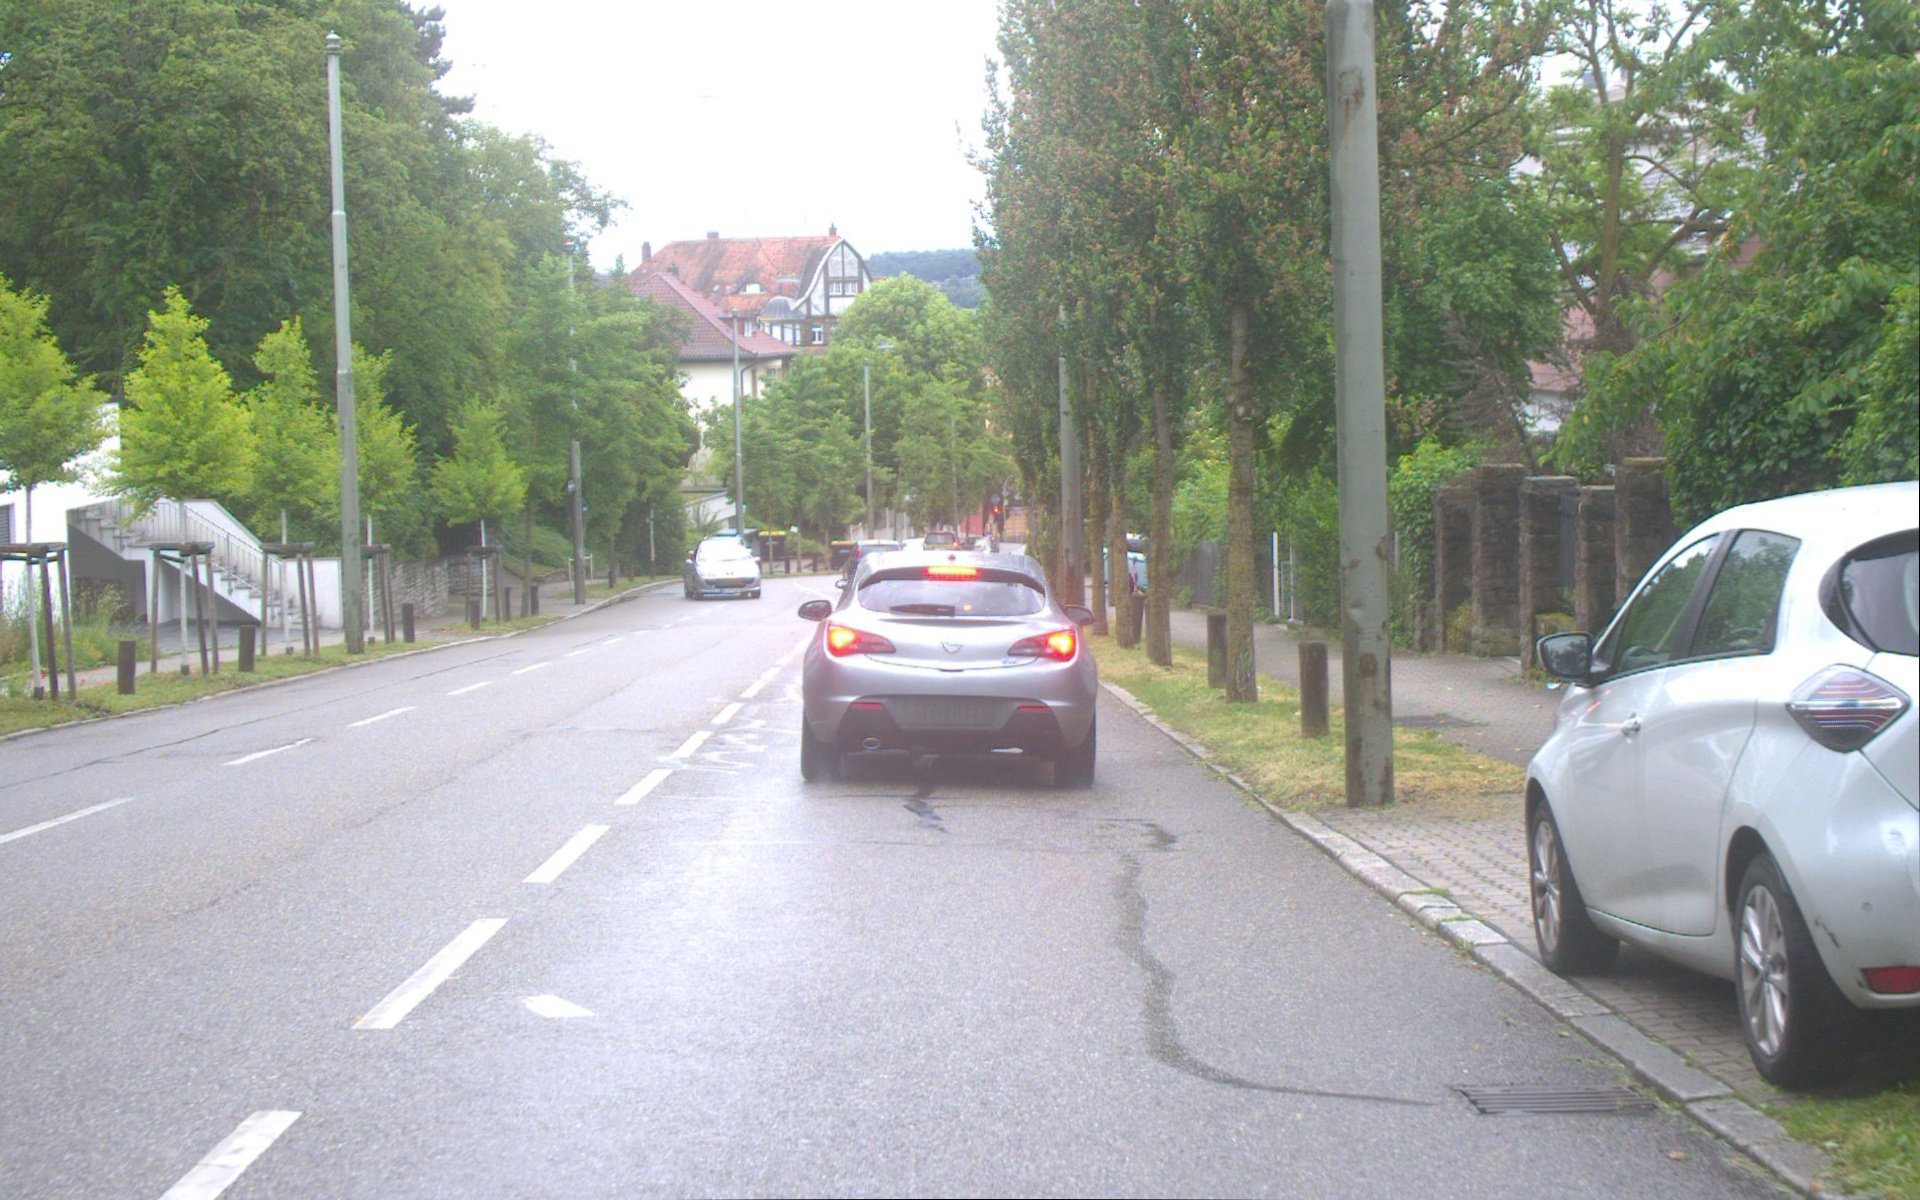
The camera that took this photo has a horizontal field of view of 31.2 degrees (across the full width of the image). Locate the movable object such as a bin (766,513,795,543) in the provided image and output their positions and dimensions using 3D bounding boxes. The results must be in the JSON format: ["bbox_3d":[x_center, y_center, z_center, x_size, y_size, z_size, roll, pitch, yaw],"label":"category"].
[{"bbox_3d":[-8.234,-3.311,157.831,1.272,1.382,0.489,0,2,5],"label":"movable object such as a bin"}]

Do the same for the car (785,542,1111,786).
[{"bbox_3d":[-0.095,0.349,22.493,1.945,1.427,3.884,0,1,-1],"label":"car"}]

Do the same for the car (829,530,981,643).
[{"bbox_3d":[-0.660,-0.204,44.109,1.798,1.318,4.000,0,2,1],"label":"car"}]

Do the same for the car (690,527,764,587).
[{"bbox_3d":[-6.151,-1.164,91.144,1.761,1.481,4.001,-3,1,-2],"label":"car"}]

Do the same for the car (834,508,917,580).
[{"bbox_3d":[-2.228,-1.515,91.737,1.769,1.775,3.976,1,3,5],"label":"car"}]

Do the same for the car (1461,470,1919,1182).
[{"bbox_3d":[2.806,0.453,10.159,1.824,1.624,4.001,-4,2,-2],"label":"car"}]

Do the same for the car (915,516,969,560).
[{"bbox_3d":[-0.687,-2.426,134.383,1.754,1.645,4.000,1,2,5],"label":"car"}]
